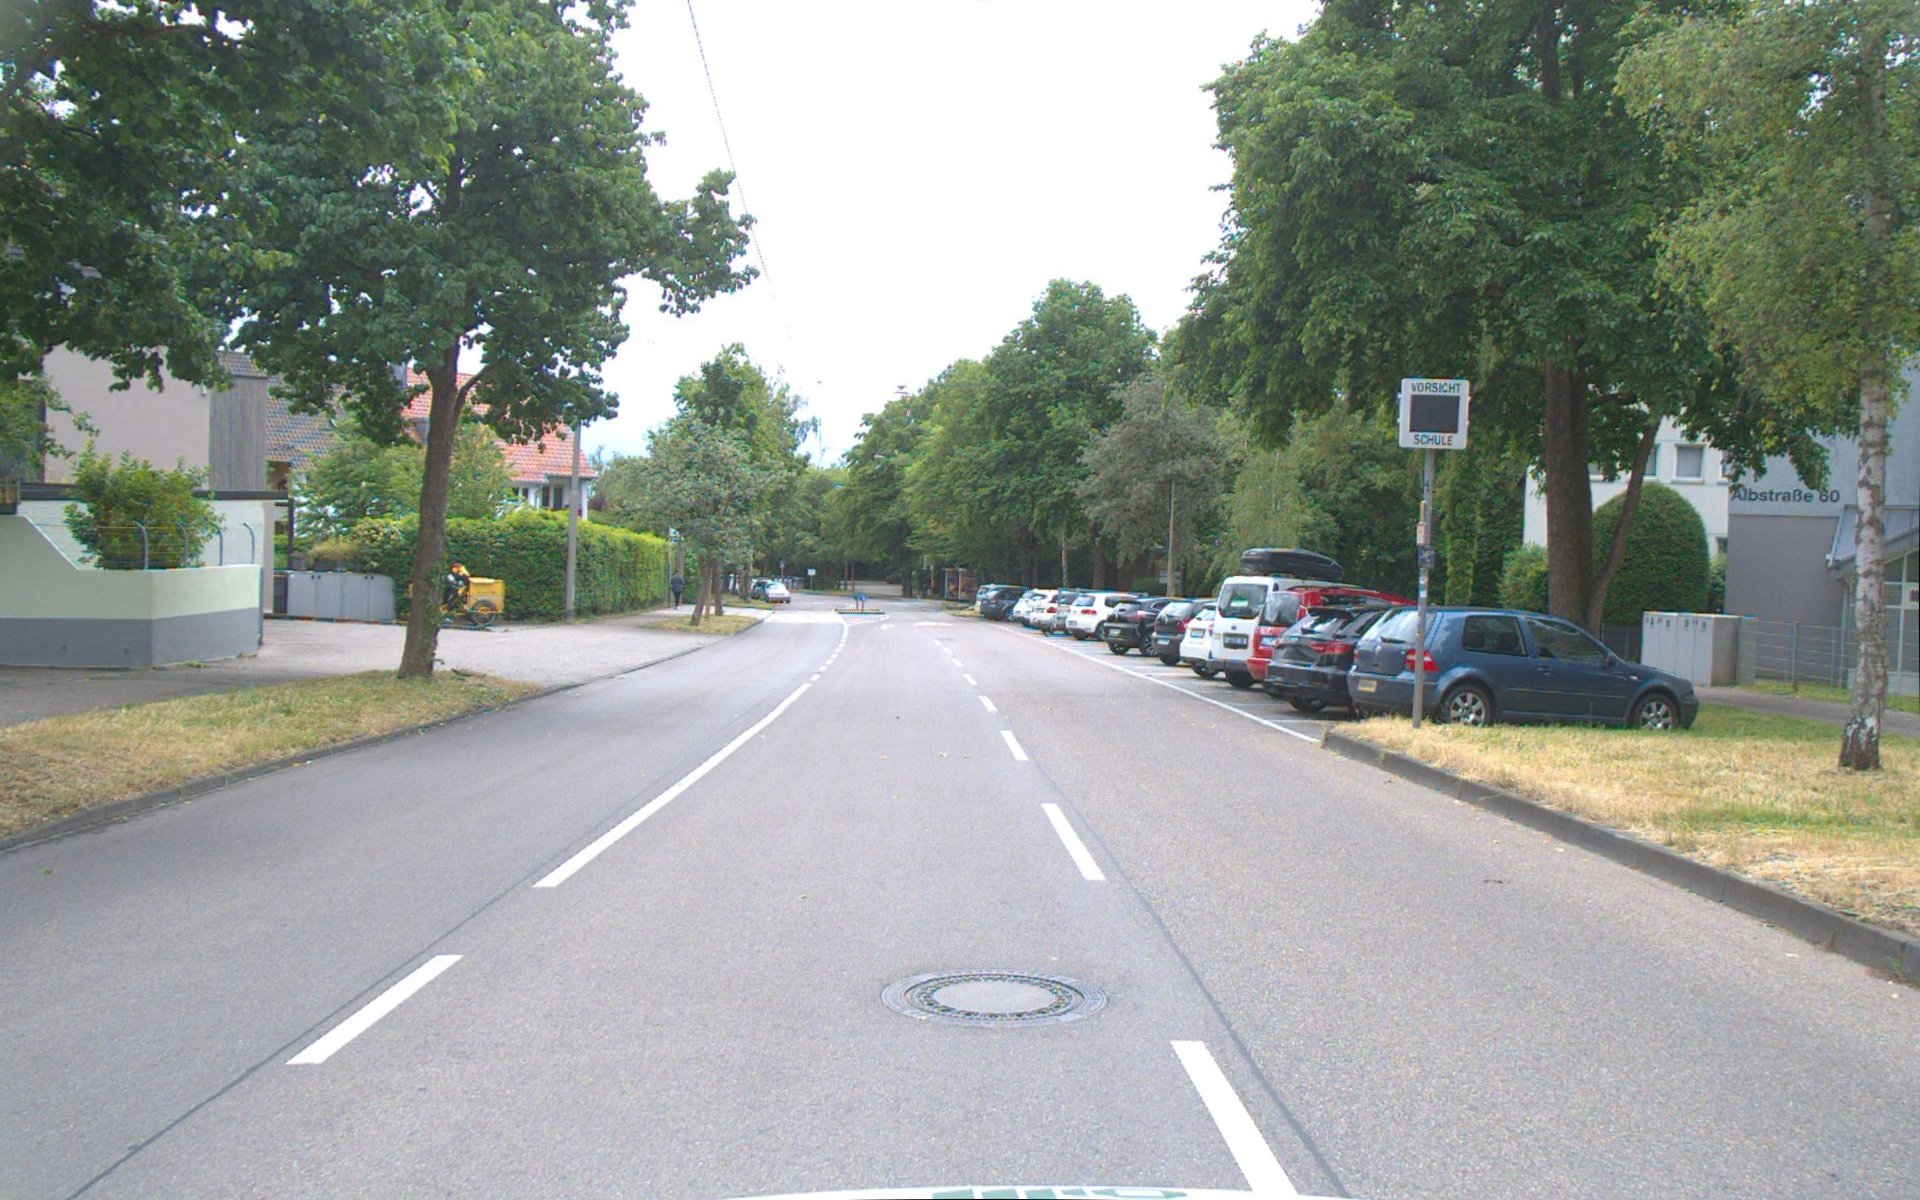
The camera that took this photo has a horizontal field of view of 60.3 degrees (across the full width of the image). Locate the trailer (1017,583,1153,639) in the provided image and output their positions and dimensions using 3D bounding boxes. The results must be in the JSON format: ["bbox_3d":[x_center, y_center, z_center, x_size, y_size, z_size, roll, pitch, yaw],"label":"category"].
[{"bbox_3d":[4.094,0.364,54.144,4.094,1.600,1.702,3,0,-21],"label":"trailer"}]

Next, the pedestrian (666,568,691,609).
[{"bbox_3d":[-12.316,-0.510,72.440,0.955,1.761,0.848,1,0,-5],"label":"pedestrian"}]

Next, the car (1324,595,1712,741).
[{"bbox_3d":[6.393,0.772,19.045,3.900,1.430,1.749,3,0,-16],"label":"car"}]

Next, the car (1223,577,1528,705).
[{"bbox_3d":[6.107,0.594,24.433,3.934,1.648,1.876,3,0,-17],"label":"car"}]

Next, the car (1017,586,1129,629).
[{"bbox_3d":[4.278,0.292,62.624,3.828,1.454,1.733,2,0,-21],"label":"car"}]

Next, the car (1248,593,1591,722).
[{"bbox_3d":[5.932,0.741,21.426,3.967,1.430,1.747,3,0,-19],"label":"car"}]

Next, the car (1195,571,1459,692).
[{"bbox_3d":[6.079,0.527,27.349,4.039,1.785,1.771,3,0,-28],"label":"car"}]

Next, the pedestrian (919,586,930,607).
[{"bbox_3d":[-2.816,-0.275,132.664,0.725,1.597,0.652,1,0,10],"label":"pedestrian"}]

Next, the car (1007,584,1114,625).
[{"bbox_3d":[3.945,0.188,65.191,3.828,1.454,1.733,2,0,-21],"label":"car"}]

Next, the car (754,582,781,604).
[{"bbox_3d":[-14.262,-0.529,122.286,1.832,1.496,3.993,1,0,-8],"label":"car"}]

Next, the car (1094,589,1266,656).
[{"bbox_3d":[5.436,0.561,40.860,3.835,1.474,1.830,2,0,-25],"label":"car"}]

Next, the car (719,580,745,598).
[{"bbox_3d":[-19.989,-0.951,144.842,1.835,1.496,3.986,1,0,-14],"label":"car"}]

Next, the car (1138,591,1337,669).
[{"bbox_3d":[6.015,0.643,35.873,3.829,1.474,1.833,3,0,-21],"label":"car"}]

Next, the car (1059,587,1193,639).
[{"bbox_3d":[5.215,0.415,51.996,3.831,1.474,1.732,2,0,-23],"label":"car"}]

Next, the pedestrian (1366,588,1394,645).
[{"bbox_3d":[12.270,0.472,48.293,0.636,1.631,0.744,1,0,4],"label":"pedestrian"}]

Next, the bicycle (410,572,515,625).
[{"bbox_3d":[-13.240,-0.042,44.040,2.605,1.288,0.842,2,1,-21],"label":"bicycle"}]

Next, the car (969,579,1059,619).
[{"bbox_3d":[2.539,-0.052,77.945,3.828,1.697,1.733,2,0,-21],"label":"car"}]

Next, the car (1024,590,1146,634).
[{"bbox_3d":[4.295,0.425,56.838,3.836,1.332,1.730,2,0,-26],"label":"car"}]

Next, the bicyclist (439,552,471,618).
[{"bbox_3d":[-13.430,-0.405,43.941,0.701,1.727,0.842,2,1,-21],"label":"bicyclist"}]

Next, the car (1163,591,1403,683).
[{"bbox_3d":[5.976,0.672,30.721,3.903,1.474,1.910,3,0,-17],"label":"car"}]

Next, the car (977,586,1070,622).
[{"bbox_3d":[2.880,0.193,75.165,3.828,1.454,1.733,2,0,-21],"label":"car"}]

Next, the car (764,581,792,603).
[{"bbox_3d":[-12.861,-0.601,116.773,1.832,1.496,3.993,1,0,-8],"label":"car"}]
